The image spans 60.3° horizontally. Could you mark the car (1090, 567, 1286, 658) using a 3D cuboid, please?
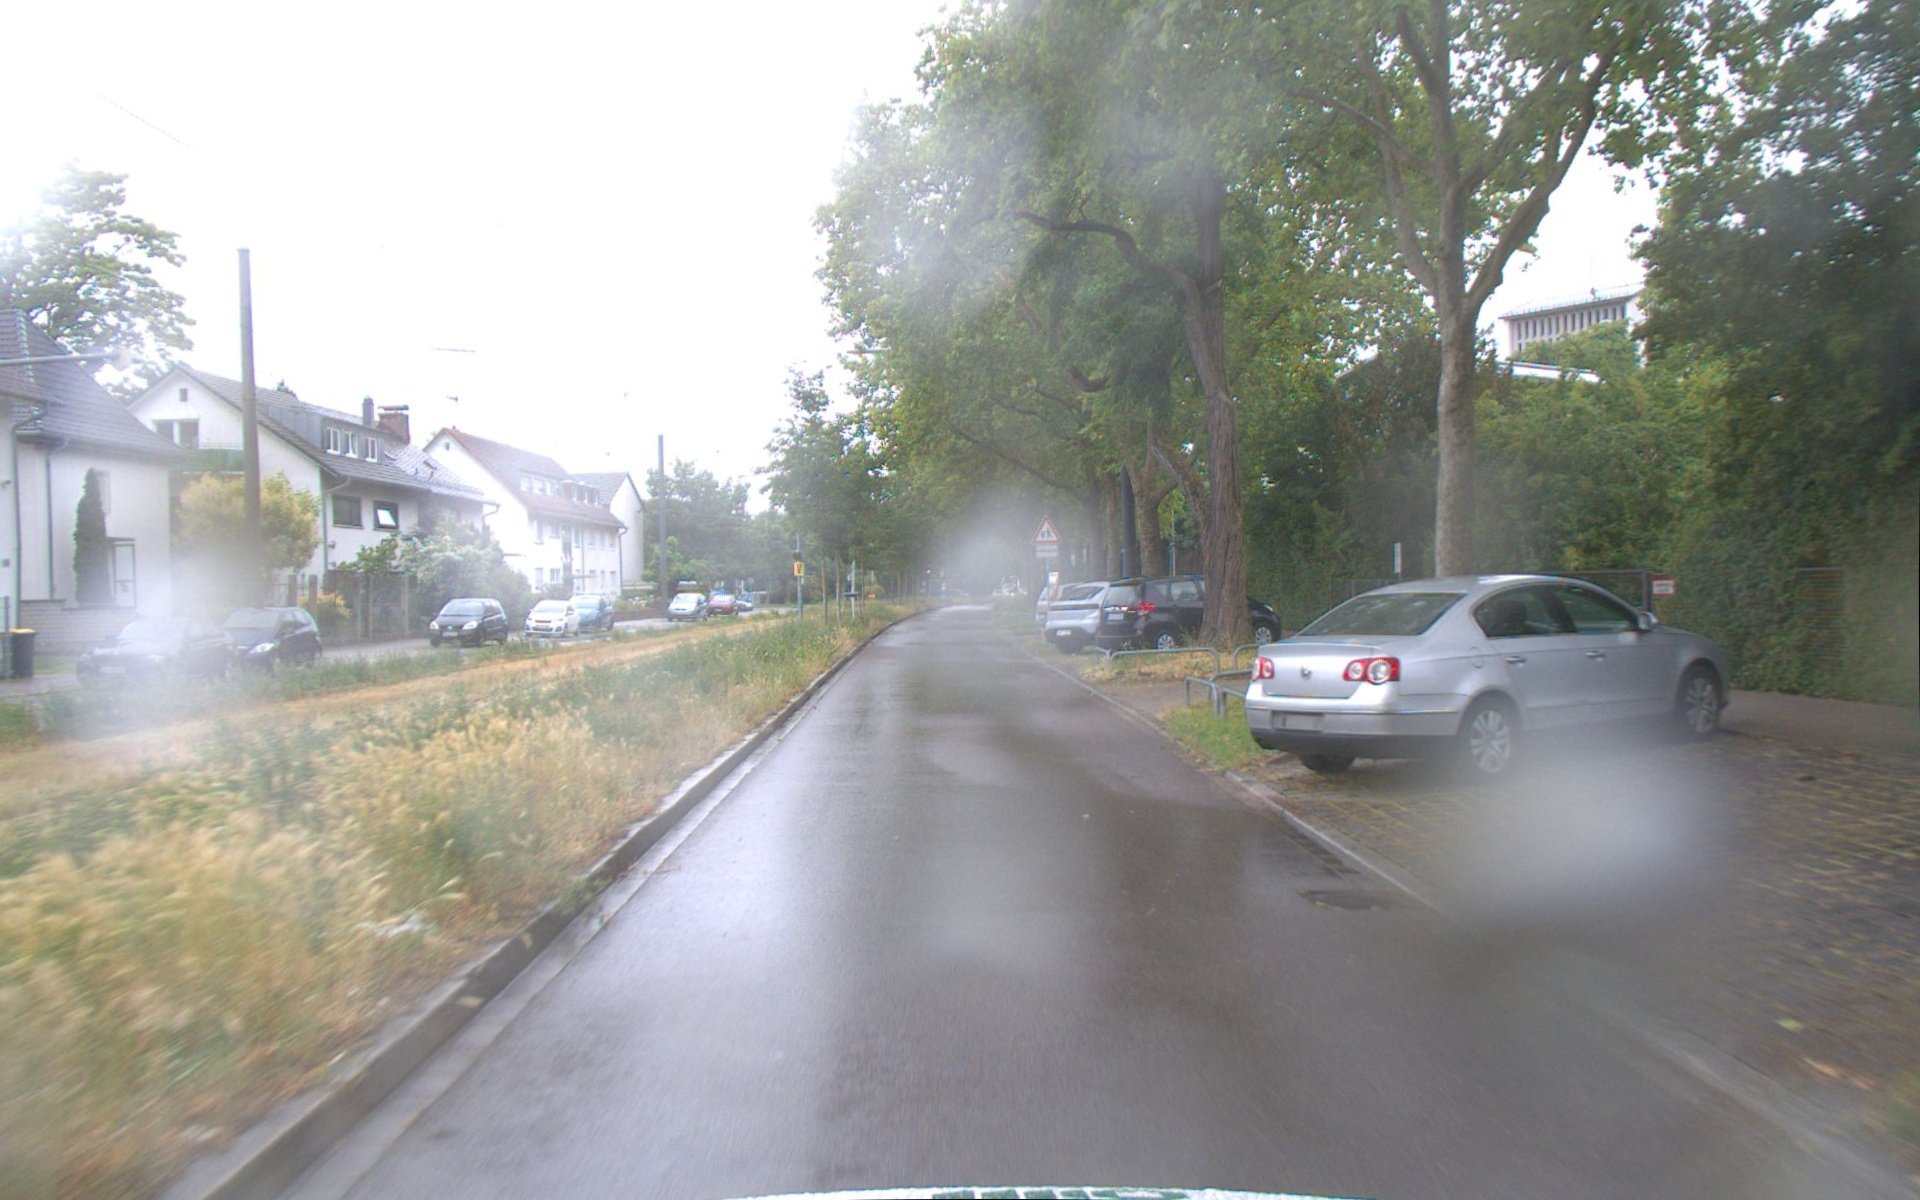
[{"bbox_3d":[4.521,0.231,32.608,3.670,1.593,1.600,-3,1,-34],"label":"car"}]

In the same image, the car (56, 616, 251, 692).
[{"bbox_3d":[-16.532,1.065,34.160,1.953,1.374,4.240,0,1,0],"label":"car"}]

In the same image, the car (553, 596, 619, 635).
[{"bbox_3d":[-16.913,0.664,74.941,1.953,1.642,4.413,0,1,0],"label":"car"}]

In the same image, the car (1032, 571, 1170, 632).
[{"bbox_3d":[4.224,0.033,49.672,3.792,1.593,1.613,-3,1,-15],"label":"car"}]

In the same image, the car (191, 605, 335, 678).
[{"bbox_3d":[-16.407,0.935,39.146,1.836,1.577,3.869,0,1,-1],"label":"car"}]

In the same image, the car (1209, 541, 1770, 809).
[{"bbox_3d":[4.332,0.474,13.271,4.507,1.571,1.866,-5,2,-34],"label":"car"}]

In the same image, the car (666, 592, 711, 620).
[{"bbox_3d":[-16.177,0.335,98.741,1.953,1.608,4.517,0,1,0],"label":"car"}]

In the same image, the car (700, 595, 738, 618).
[{"bbox_3d":[-16.349,0.419,112.571,1.953,1.514,4.205,0,1,0],"label":"car"}]

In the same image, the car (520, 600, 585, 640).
[{"bbox_3d":[-16.755,0.801,68.200,1.759,1.514,3.597,0,1,0],"label":"car"}]

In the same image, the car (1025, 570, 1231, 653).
[{"bbox_3d":[3.971,0.241,38.703,4.727,1.697,1.968,-3,1,-38],"label":"car"}]

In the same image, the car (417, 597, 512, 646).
[{"bbox_3d":[-16.822,0.708,56.392,1.953,1.542,4.205,0,1,0],"label":"car"}]
